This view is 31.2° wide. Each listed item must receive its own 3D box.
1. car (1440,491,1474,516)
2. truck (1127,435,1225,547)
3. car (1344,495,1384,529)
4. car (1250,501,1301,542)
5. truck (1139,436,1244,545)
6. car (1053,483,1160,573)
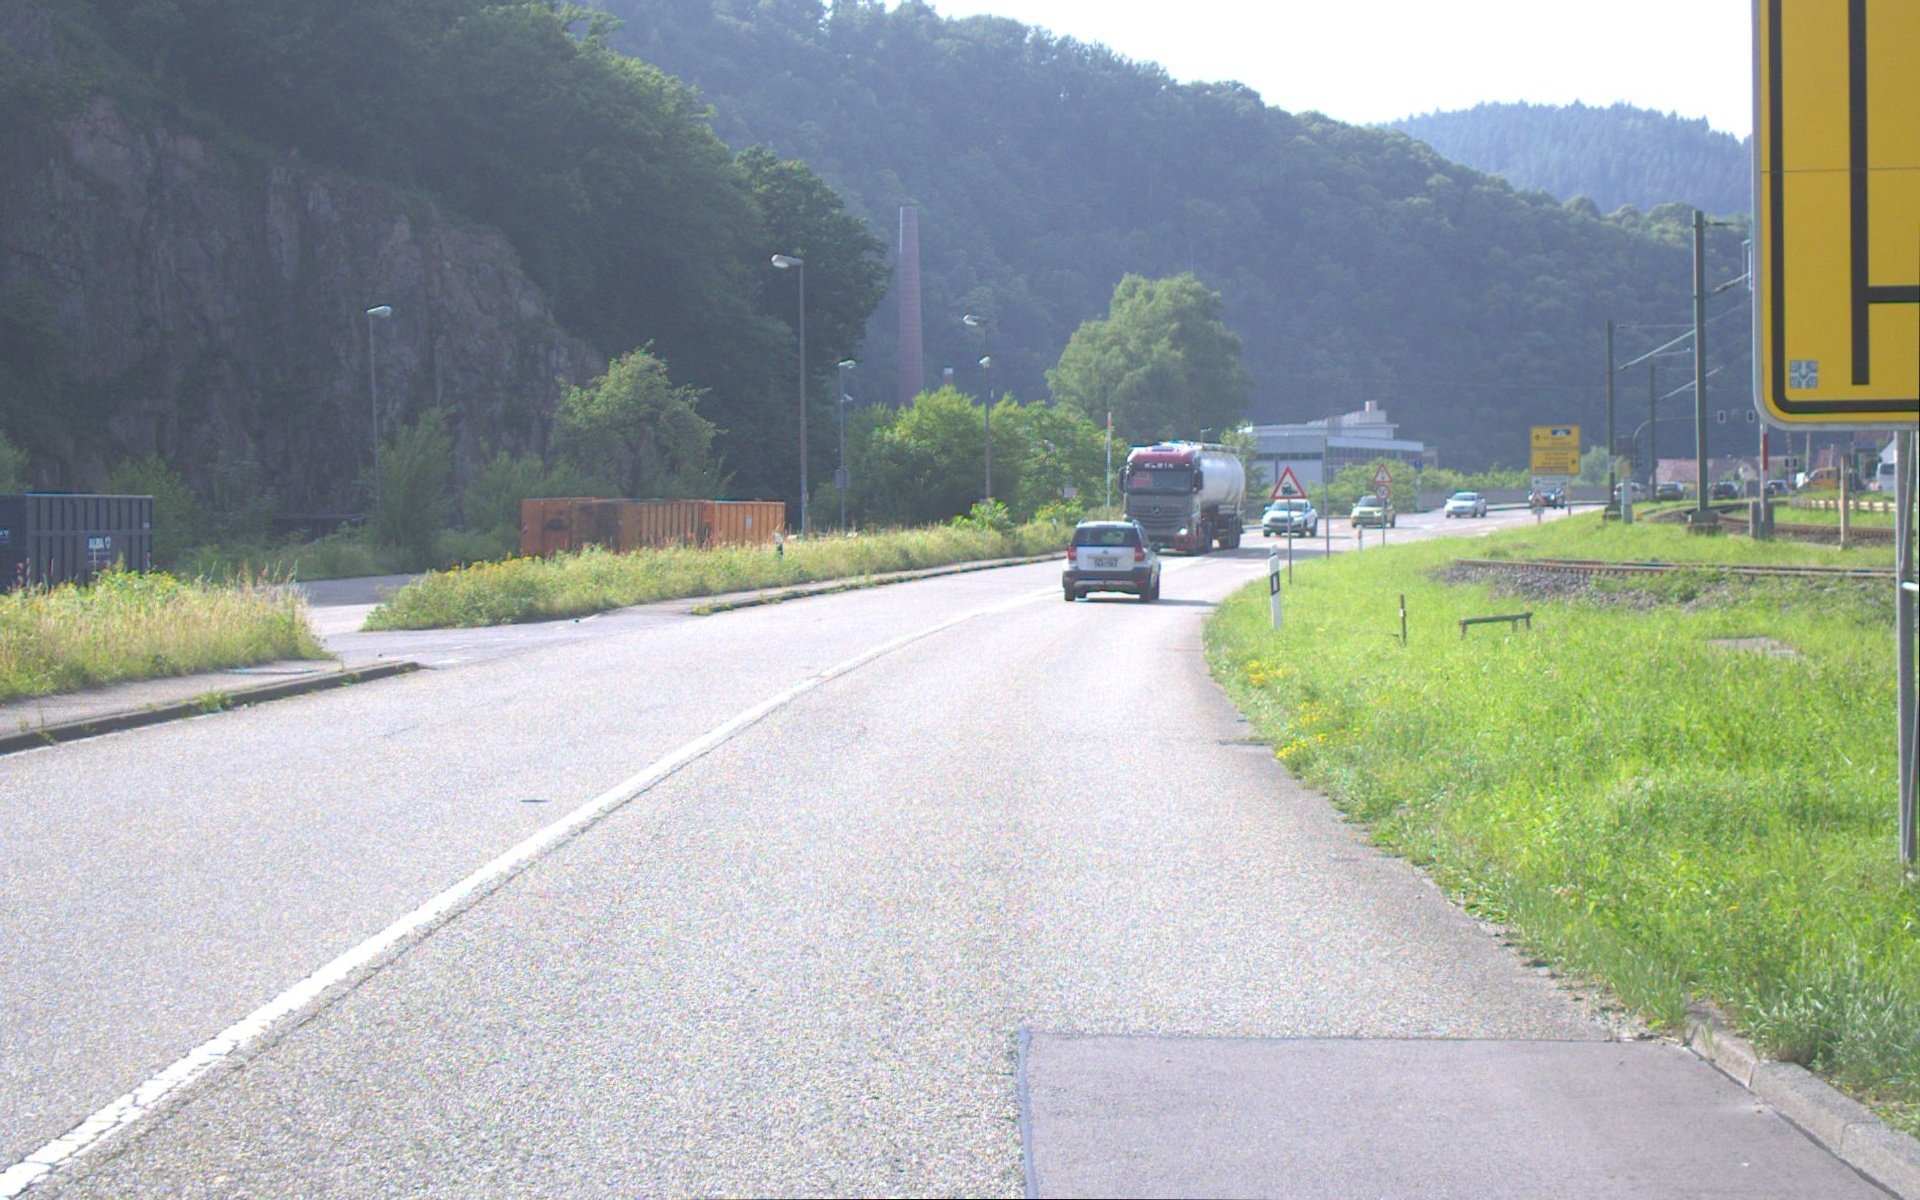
[{"bbox_3d":[28.610,-5.569,197.871,1.779,1.343,4.509,2,2,9],"label":"car"},{"bbox_3d":[7.737,-3.866,122.191,2.751,3.822,8.196,1,2,9],"label":"truck"},{"bbox_3d":[20.230,-4.422,172.136,1.724,1.619,3.795,1,2,11],"label":"car"},{"bbox_3d":[14.043,-3.515,152.813,1.994,1.752,4.468,2,2,8],"label":"car"},{"bbox_3d":[8.808,-4.125,129.222,2.751,3.822,14.558,1,2,8],"label":"truck"},{"bbox_3d":[3.052,-1.493,70.807,1.994,1.717,3.990,-2,1,5],"label":"car"}]
